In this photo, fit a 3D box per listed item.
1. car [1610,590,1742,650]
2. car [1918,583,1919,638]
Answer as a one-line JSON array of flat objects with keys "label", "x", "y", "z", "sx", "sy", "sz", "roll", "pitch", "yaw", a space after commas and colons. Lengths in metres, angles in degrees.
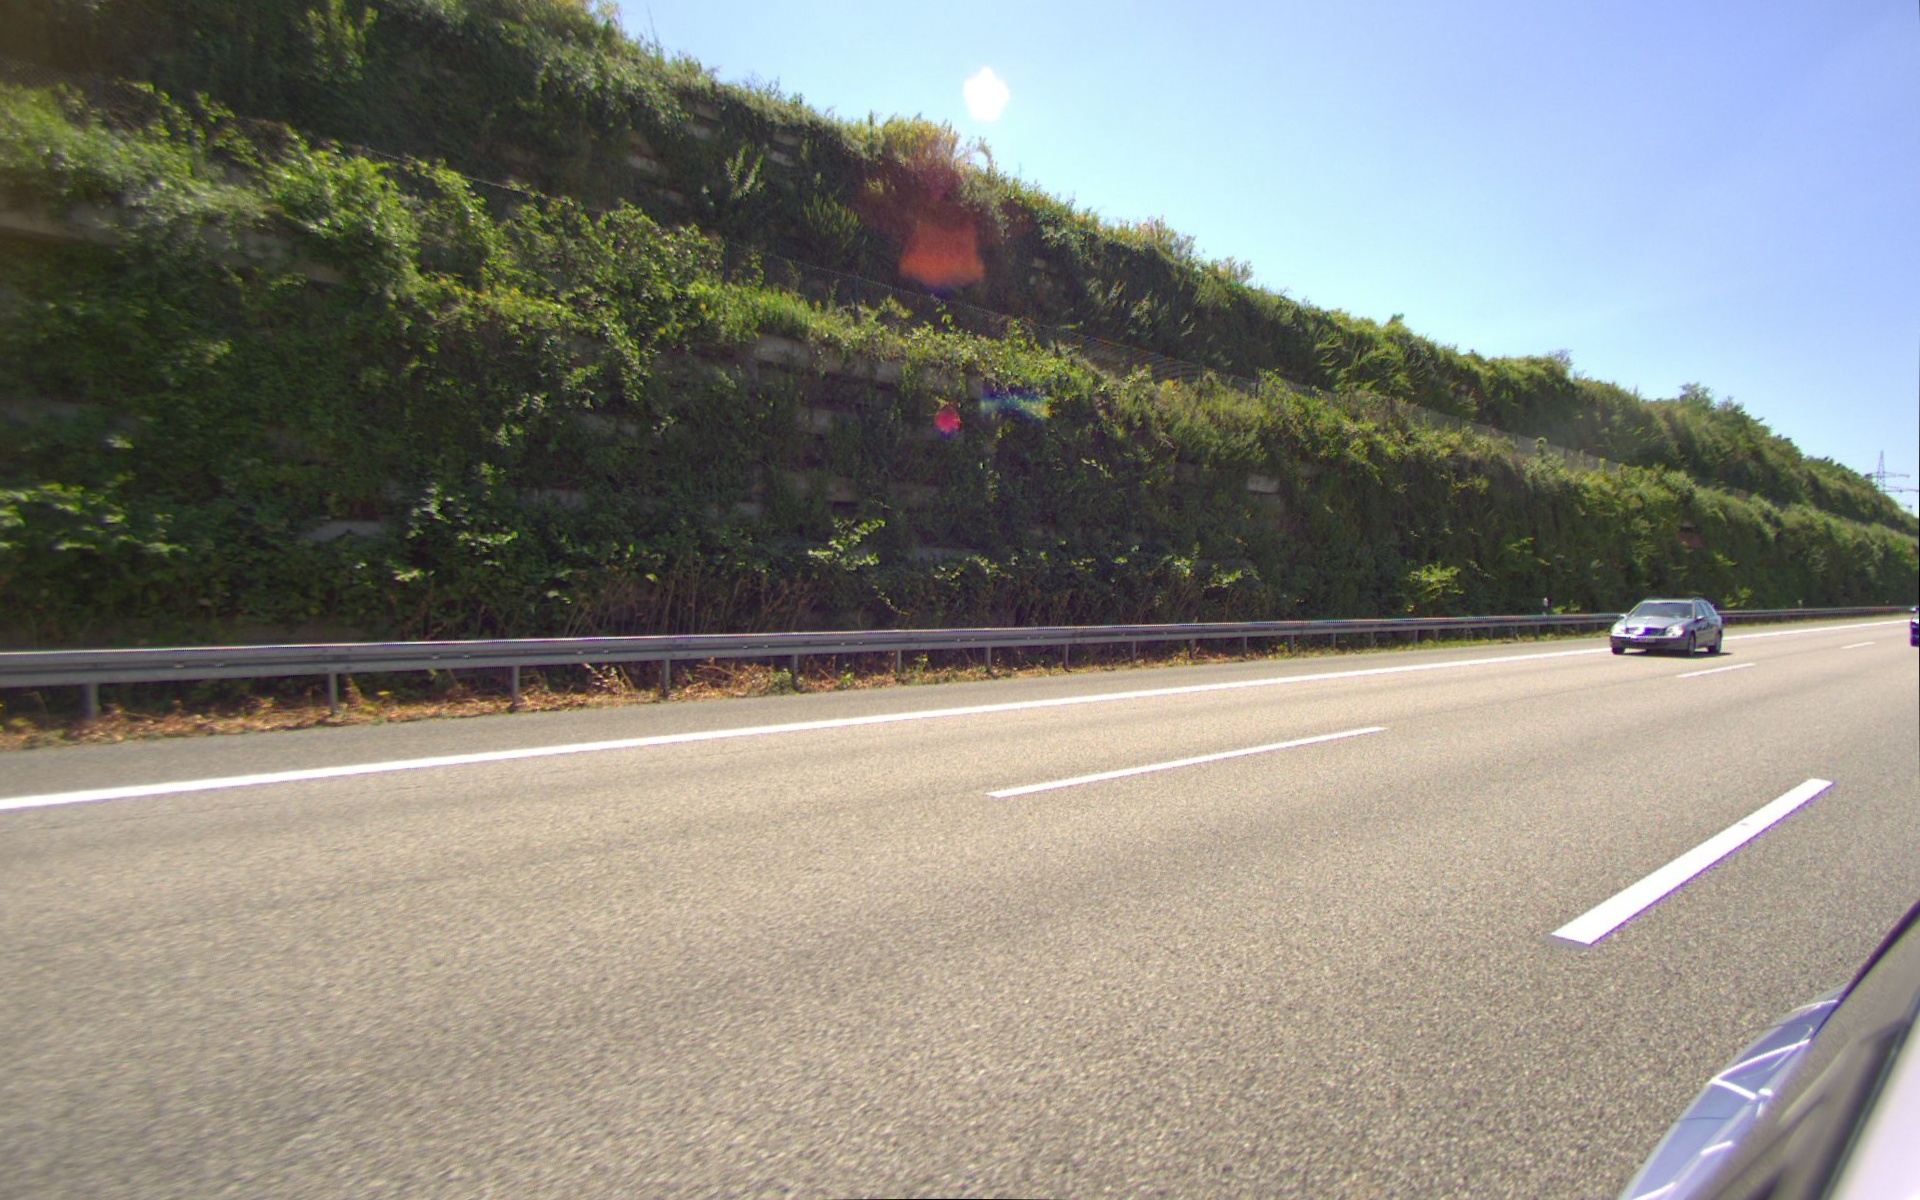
[{"label": "car", "x": 18.725, "y": 0.464, "z": 26.384, "sx": 4.479, "sy": 1.429, "sz": 1.838, "roll": 0, "pitch": 1, "yaw": -41}, {"label": "car", "x": 32.152, "y": 0.348, "z": 32.220, "sx": 4.479, "sy": 1.701, "sz": 1.983, "roll": 0, "pitch": 1, "yaw": -41}]
